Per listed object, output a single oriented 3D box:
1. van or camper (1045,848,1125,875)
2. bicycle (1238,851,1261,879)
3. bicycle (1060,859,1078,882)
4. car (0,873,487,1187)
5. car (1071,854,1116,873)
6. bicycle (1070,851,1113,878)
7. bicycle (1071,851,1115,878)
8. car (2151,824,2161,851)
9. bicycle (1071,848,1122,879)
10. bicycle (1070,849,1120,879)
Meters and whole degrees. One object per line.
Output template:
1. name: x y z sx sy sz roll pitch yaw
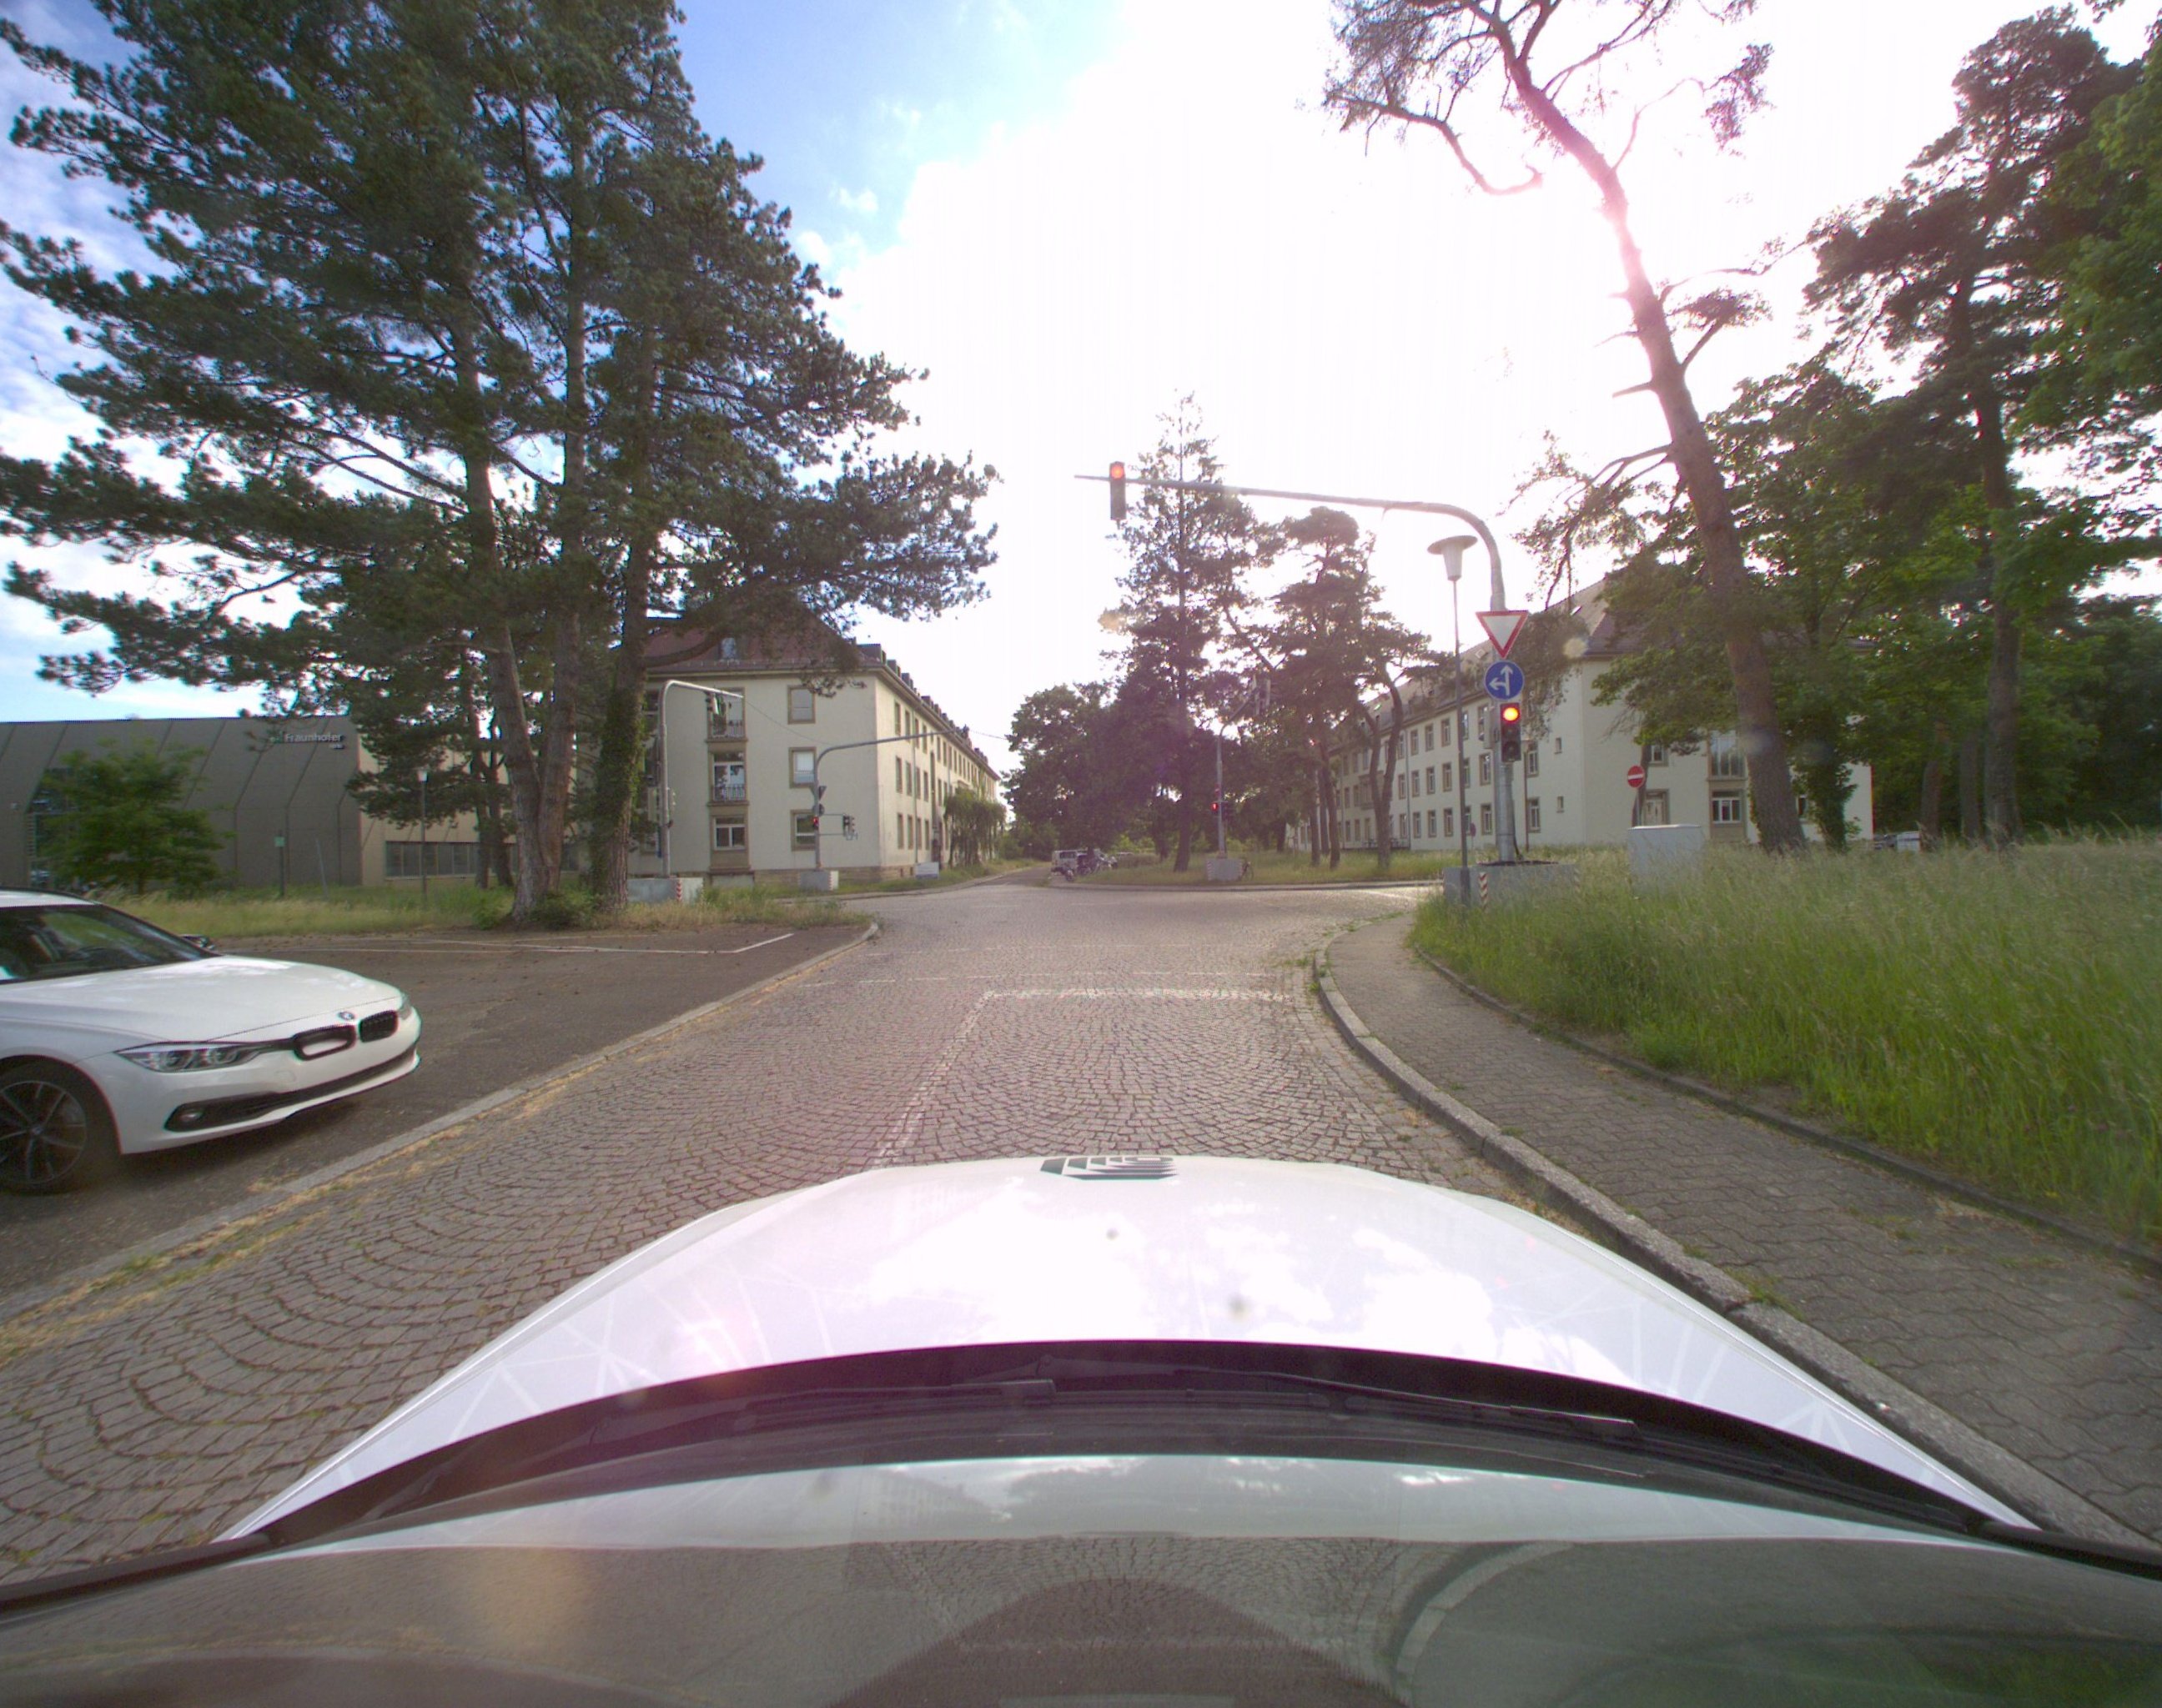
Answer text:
1. van or camper: 0.273 0.594 64.807 6.041 1.948 1.990 -2 0 -14
2. bicycle: 7.236 0.454 35.146 0.720 1.169 2.741 0 0 6
3. bicycle: -0.606 0.834 42.546 0.723 1.107 2.462 -6 0 1
4. car: -6.466 0.871 4.775 4.469 1.442 1.828 1 0 -4
5. car: 0.915 0.691 61.239 3.134 1.354 1.616 -2 0 -7
6. bicycle: 0.686 0.663 52.941 2.766 1.694 1.120 1 0 0
7. bicycle: 0.775 0.673 51.605 2.764 1.694 1.121 1 0 3
8. car: 56.954 -0.819 41.089 3.975 1.398 1.563 1 0 -1
9. bicycle: 0.867 0.542 46.848 2.772 1.694 1.118 -2 0 -6
10. bicycle: 0.838 0.571 48.041 2.774 1.694 1.117 -2 0 -8
